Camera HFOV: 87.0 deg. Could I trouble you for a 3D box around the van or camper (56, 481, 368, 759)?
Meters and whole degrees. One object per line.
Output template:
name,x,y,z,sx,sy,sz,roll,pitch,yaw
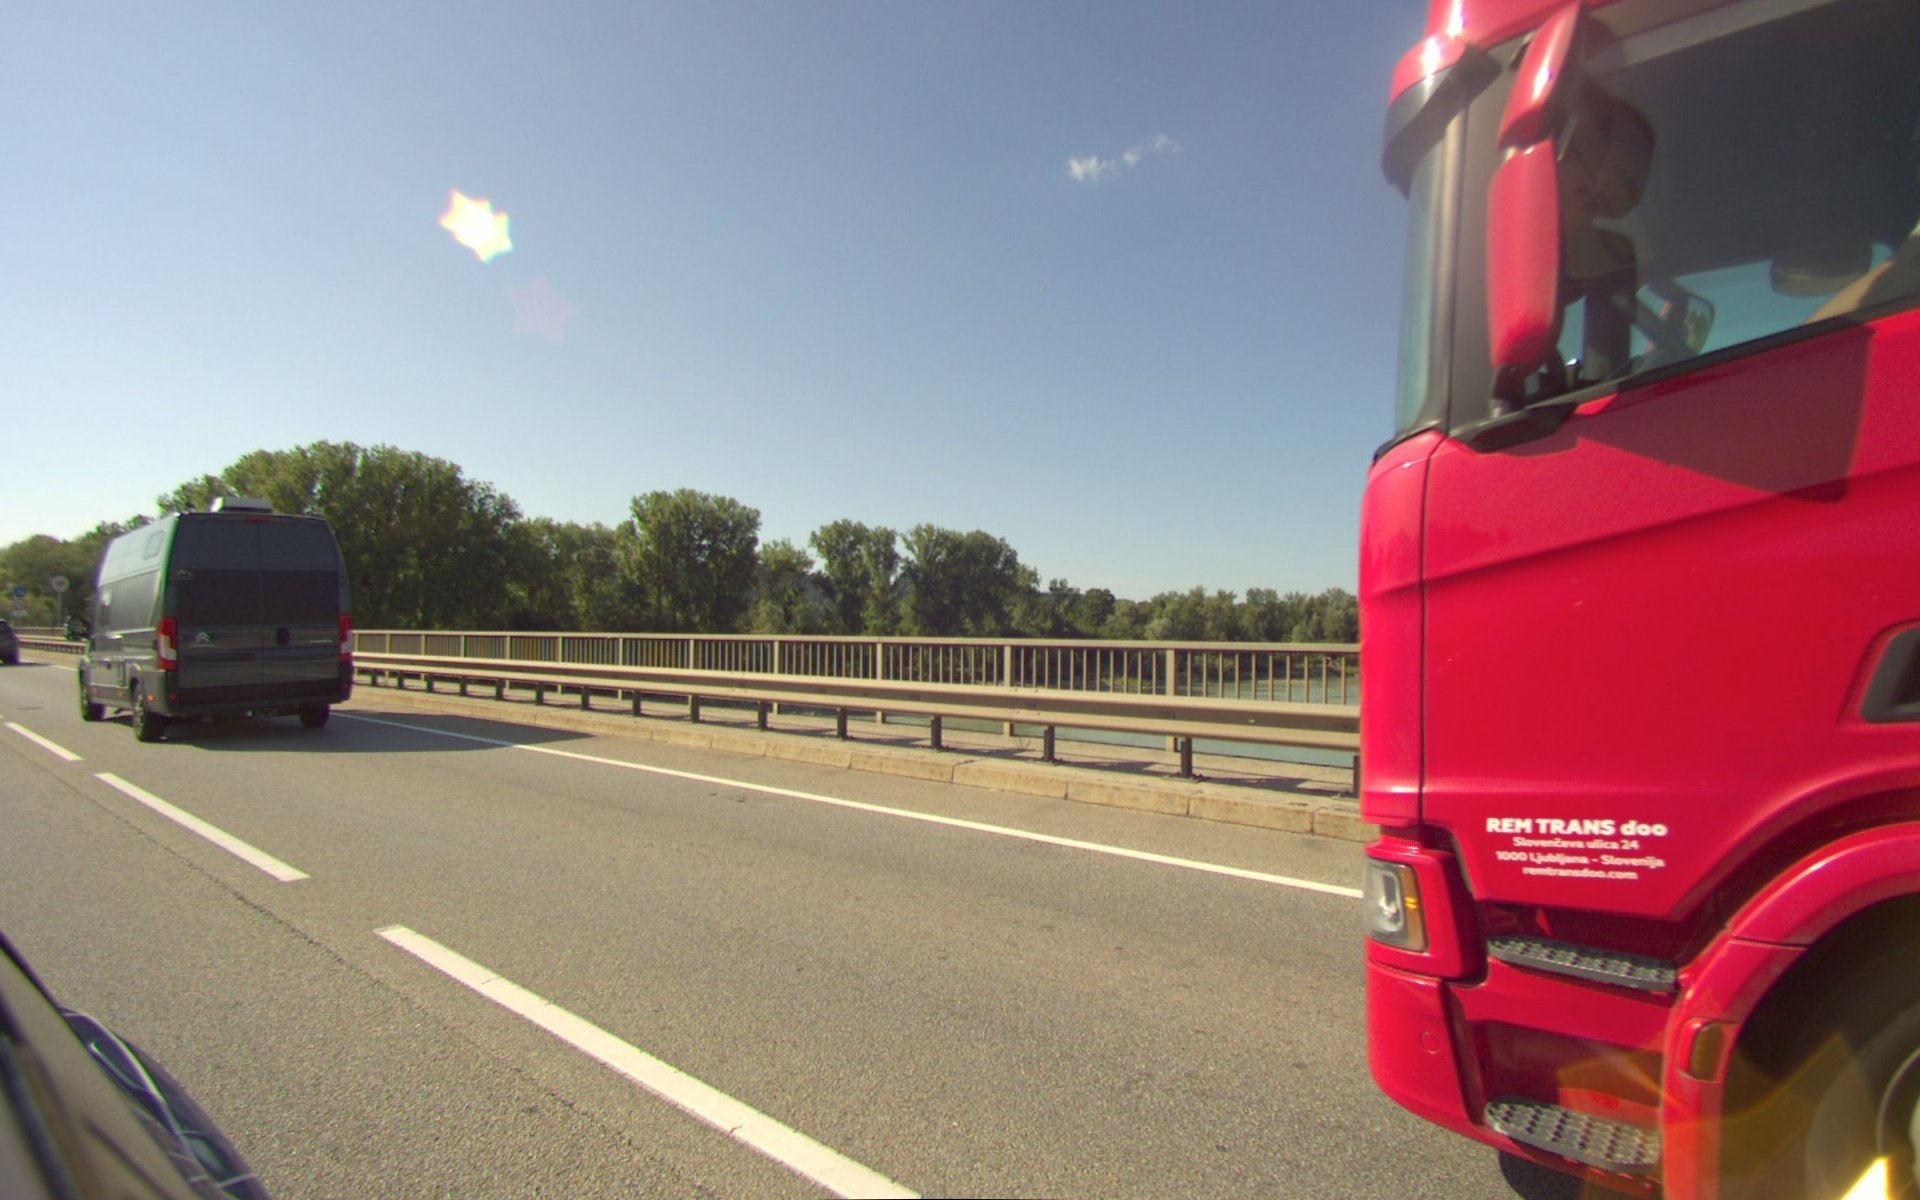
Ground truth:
van or camper,-10.823,0.277,14.338,6.816,3.074,2.290,-1,-1,42

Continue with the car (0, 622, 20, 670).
car,-34.067,1.579,34.991,4.272,1.596,1.855,-2,-1,41

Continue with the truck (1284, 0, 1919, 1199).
truck,3.896,-0.751,1.729,5.710,4.216,2.878,-1,-1,41
